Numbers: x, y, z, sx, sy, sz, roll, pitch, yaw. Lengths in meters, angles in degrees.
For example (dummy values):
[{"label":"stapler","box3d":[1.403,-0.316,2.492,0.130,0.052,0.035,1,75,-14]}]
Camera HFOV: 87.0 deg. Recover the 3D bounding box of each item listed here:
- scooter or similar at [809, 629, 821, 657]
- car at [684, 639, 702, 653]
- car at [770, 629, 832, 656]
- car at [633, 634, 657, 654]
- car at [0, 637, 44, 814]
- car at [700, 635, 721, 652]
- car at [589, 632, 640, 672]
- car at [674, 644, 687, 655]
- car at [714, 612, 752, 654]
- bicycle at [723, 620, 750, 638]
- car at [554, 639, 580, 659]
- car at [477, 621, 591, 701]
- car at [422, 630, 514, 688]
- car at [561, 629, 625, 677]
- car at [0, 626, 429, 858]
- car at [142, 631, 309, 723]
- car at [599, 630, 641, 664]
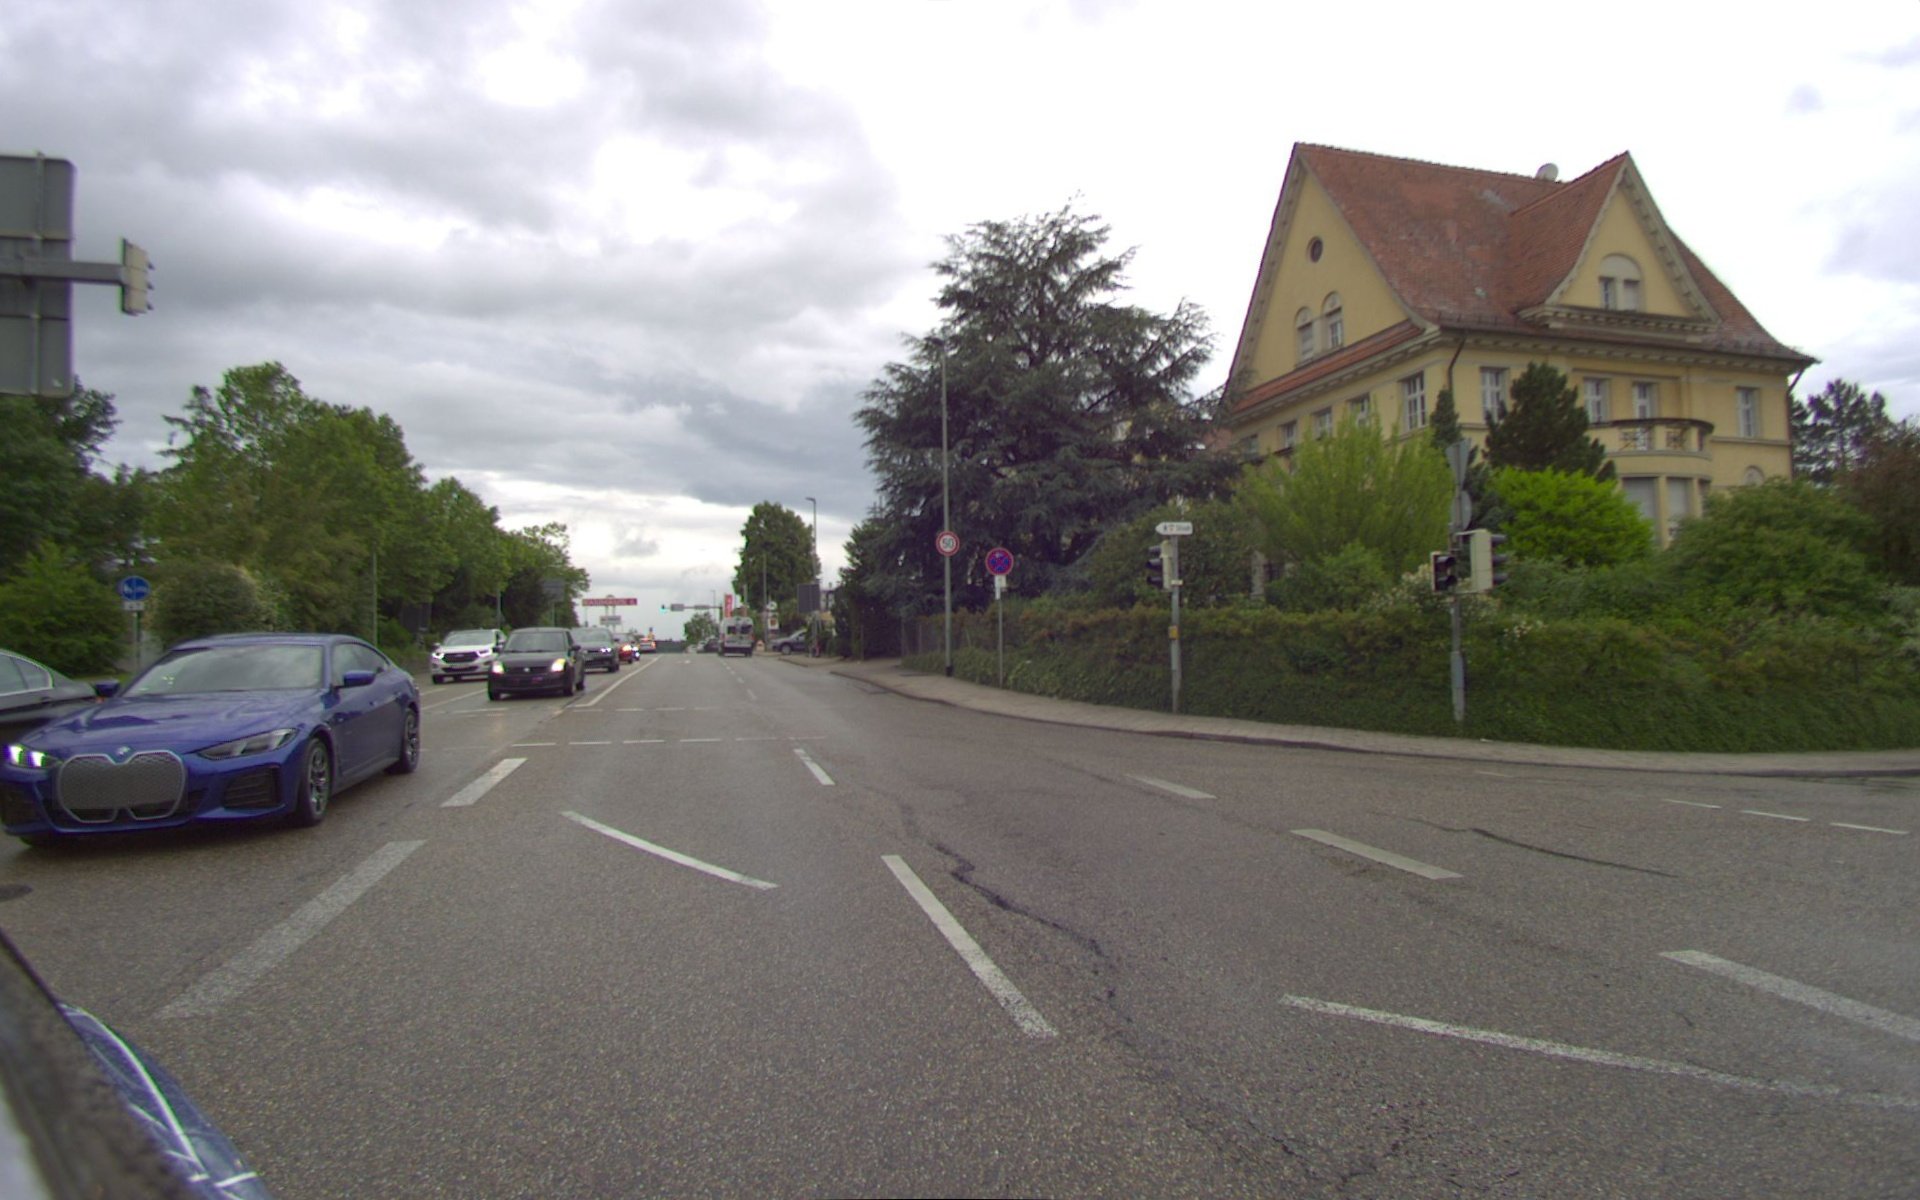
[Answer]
[{"label":"scooter or similar","box3d":[-7.521,2.242,52.634,0.498,1.416,1.882,-1,-2,-5]},{"label":"car","box3d":[-30.721,5.278,116.364,1.722,1.407,3.813,-1,-1,-18]},{"label":"car","box3d":[-10.375,2.749,66.067,3.872,1.664,1.722,-1,-2,-9]},{"label":"car","box3d":[-30.940,4.313,99.398,1.898,1.731,4.110,-5,-1,-15]},{"label":"car","box3d":[-8.399,1.033,6.539,1.766,1.470,4.733,-2,-1,-16]},{"label":"car","box3d":[-23.613,4.071,95.798,1.751,1.513,4.484,-1,-1,-15]},{"label":"car","box3d":[-16.341,2.414,48.037,1.897,1.731,4.110,-3,-1,-15]},{"label":"car","box3d":[-42.792,7.578,154.872,1.675,1.611,3.560,-1,-1,-18]},{"label":"car","box3d":[-14.990,2.137,66.562,2.266,2.547,5.789,-1,-1,-14]},{"label":"bicycle","box3d":[-14.043,1.842,63.571,1.614,1.134,0.469,1,-3,-14]},{"label":"car","box3d":[-36.154,4.453,93.253,1.786,1.630,3.920,-3,0,-16]},{"label":"car","box3d":[-9.417,1.321,22.677,1.778,1.564,4.234,-1,-2,-15]},{"label":"car","box3d":[-15.879,1.859,32.868,1.947,1.634,3.853,-3,0,-15]},{"label":"car","box3d":[-12.825,1.812,35.544,1.778,1.564,4.011,-1,-1,-15]},{"label":"car","box3d":[-6.012,0.959,8.598,1.774,1.418,4.284,-1,-1,-15]},{"label":"car","box3d":[-15.391,1.535,21.437,1.677,1.634,3.853,-3,0,-18]},{"label":"car","box3d":[-18.440,2.518,55.028,1.897,1.731,4.110,-1,-2,-15]}]
